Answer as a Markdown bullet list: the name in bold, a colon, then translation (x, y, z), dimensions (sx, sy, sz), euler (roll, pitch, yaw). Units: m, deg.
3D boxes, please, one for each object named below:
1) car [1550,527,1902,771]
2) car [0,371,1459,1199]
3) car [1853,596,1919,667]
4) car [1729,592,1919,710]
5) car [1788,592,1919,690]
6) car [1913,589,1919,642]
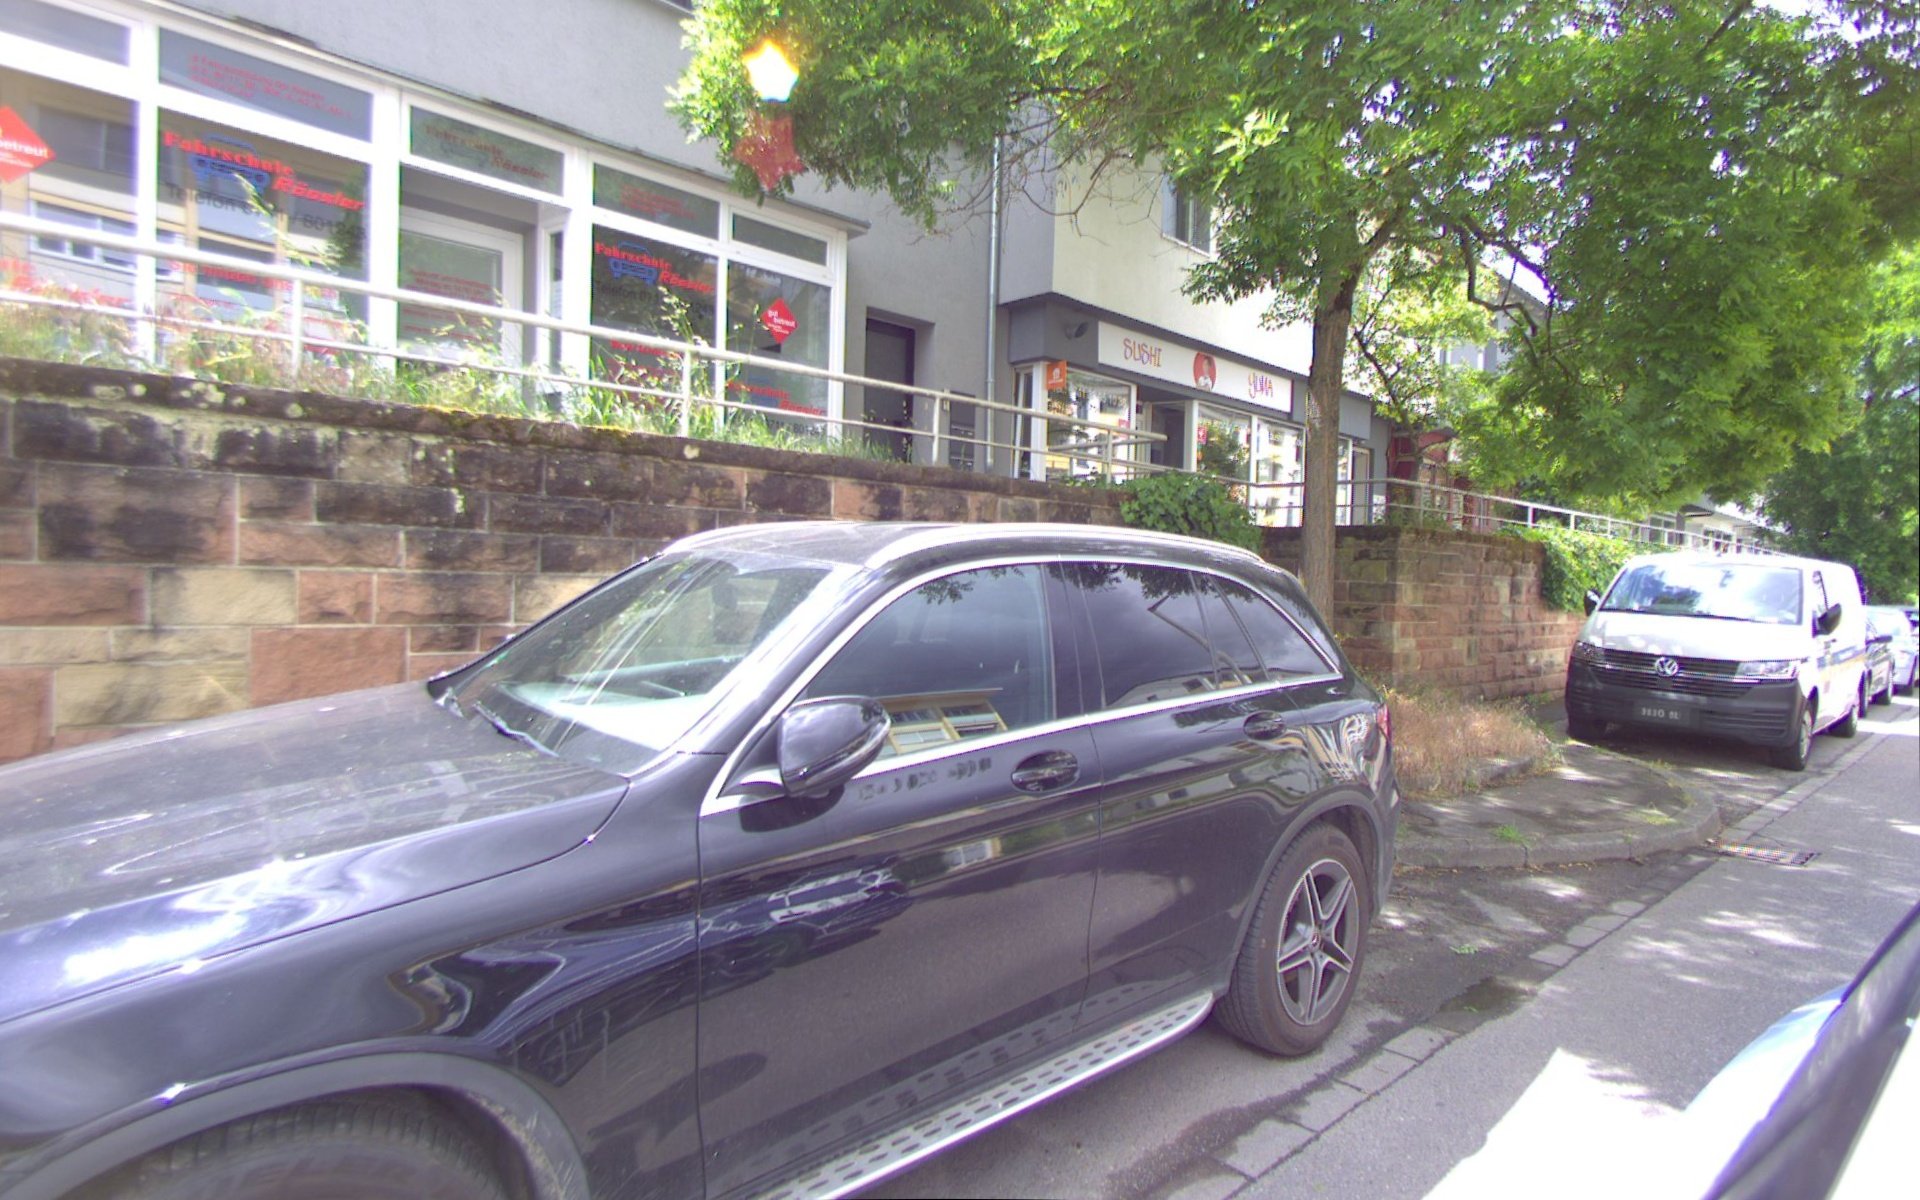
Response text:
- **car**: translation (8.217, 0.370, 10.659), dimensions (4.925, 1.994, 1.977), euler (0, 1, -41)
- **car**: translation (-0.443, 0.504, 2.908), dimensions (4.371, 1.637, 1.793), euler (0, 4, -42)
- **car**: translation (21.346, 0.668, 22.431), dimensions (4.075, 1.446, 1.783), euler (0, 2, -41)
- **car**: translation (12.532, 0.641, 14.589), dimensions (3.669, 1.446, 1.577), euler (0, 2, -41)
- **car**: translation (16.208, 0.639, 17.966), dimensions (4.076, 1.445, 1.783), euler (0, 4, -44)
- **car**: translation (32.341, 0.508, 32.848), dimensions (4.078, 1.674, 1.816), euler (0, 2, -44)
